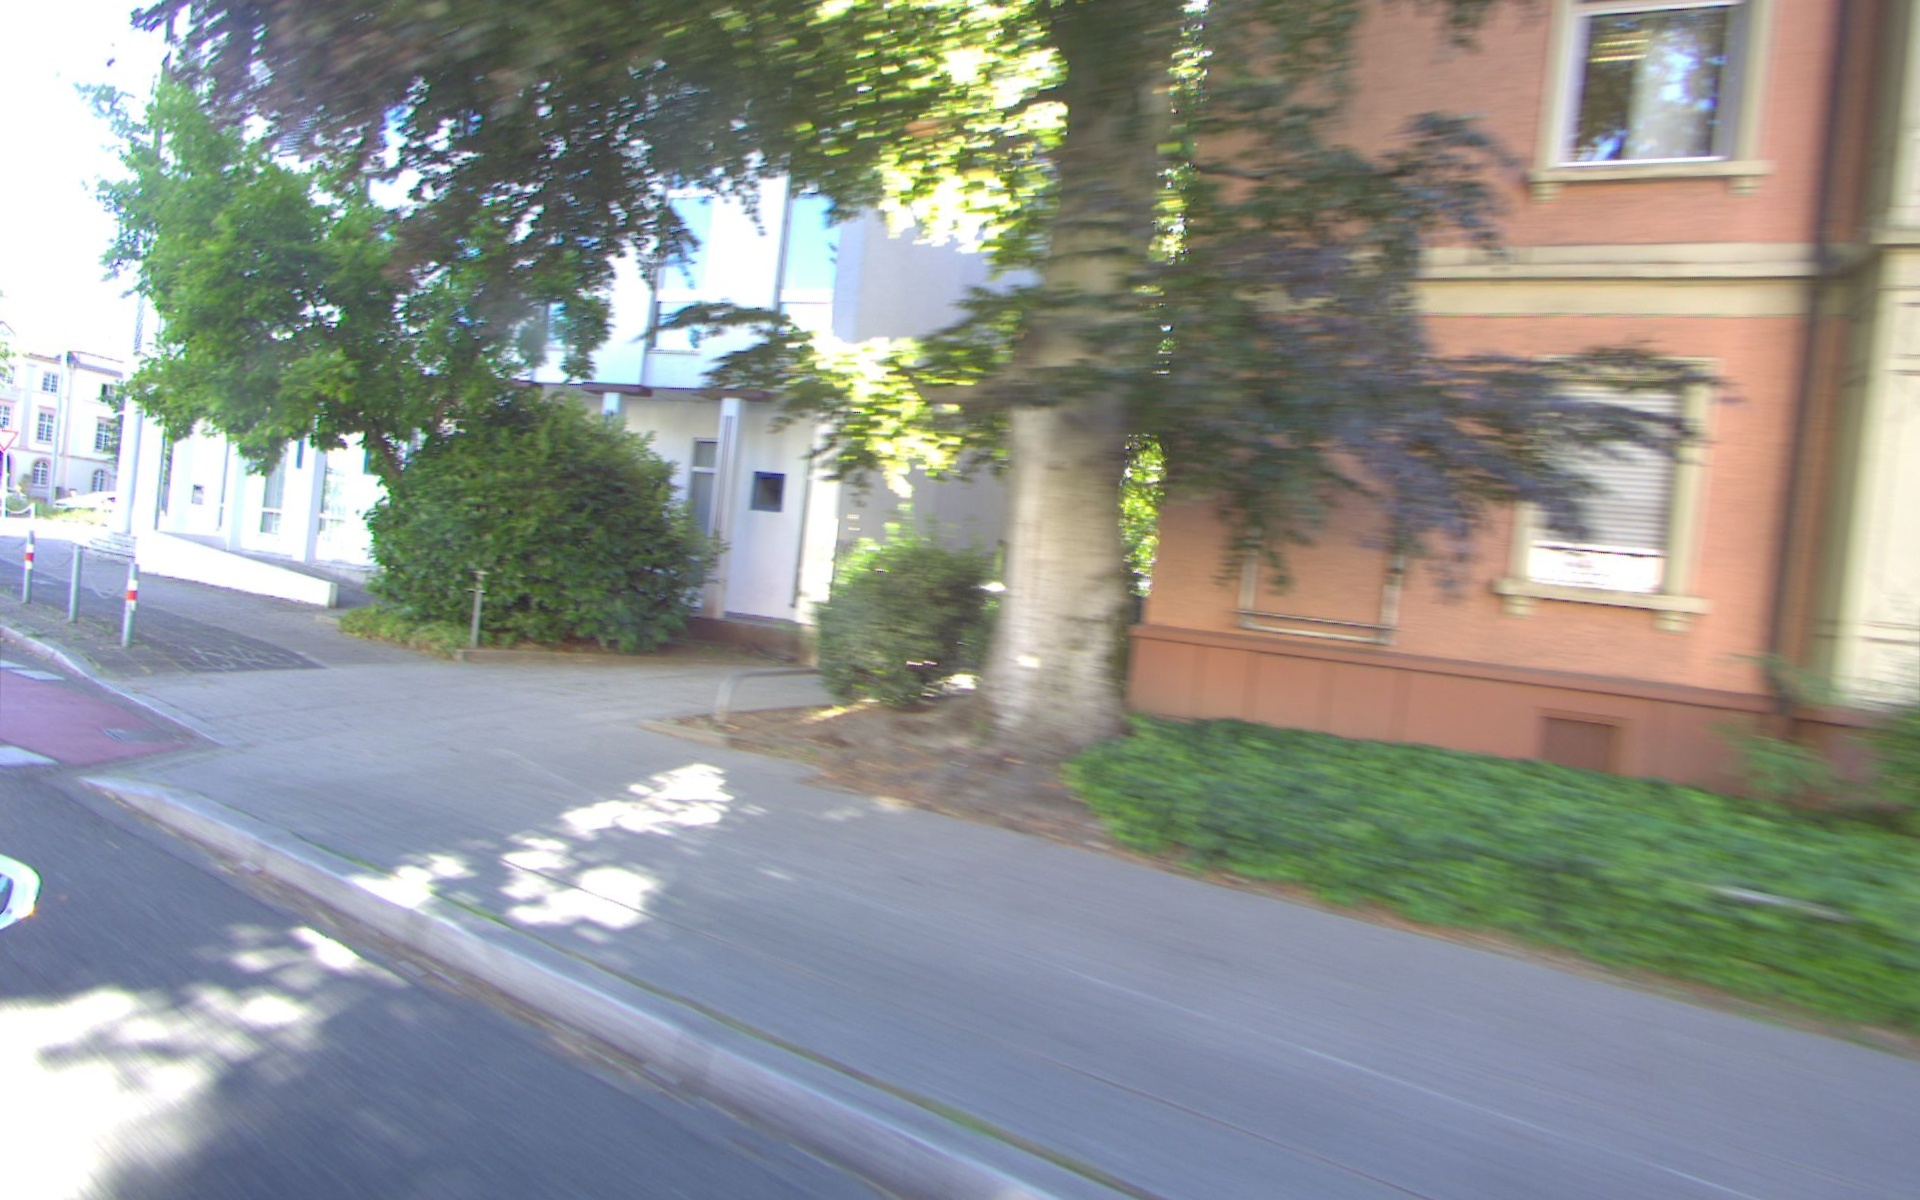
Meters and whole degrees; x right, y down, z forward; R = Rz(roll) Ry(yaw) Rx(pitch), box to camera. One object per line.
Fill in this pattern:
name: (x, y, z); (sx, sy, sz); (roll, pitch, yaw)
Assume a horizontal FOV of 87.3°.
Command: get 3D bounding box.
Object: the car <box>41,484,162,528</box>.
car: (-42.434, -4.613, 49.819); (1.787, 1.527, 4.189); (7, 0, 15)
